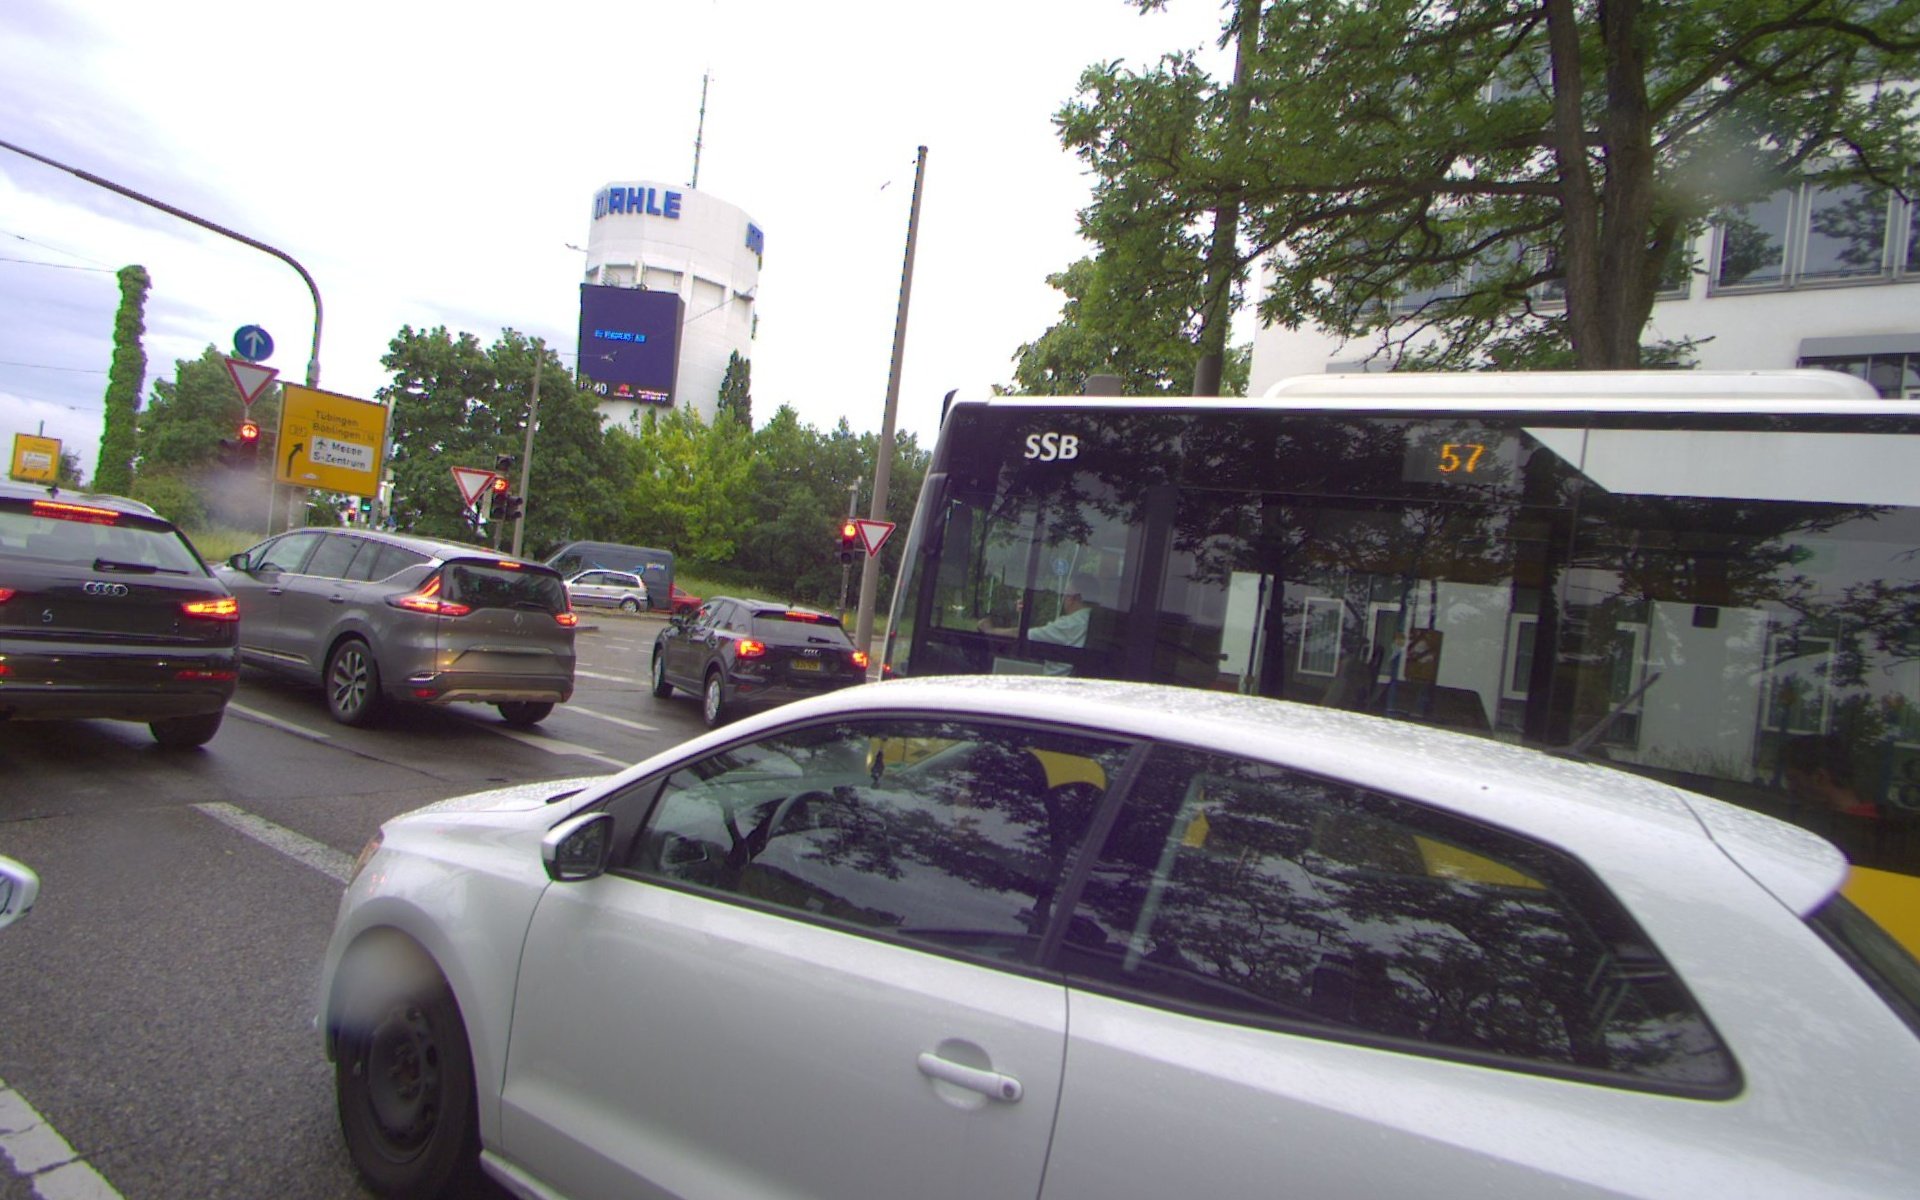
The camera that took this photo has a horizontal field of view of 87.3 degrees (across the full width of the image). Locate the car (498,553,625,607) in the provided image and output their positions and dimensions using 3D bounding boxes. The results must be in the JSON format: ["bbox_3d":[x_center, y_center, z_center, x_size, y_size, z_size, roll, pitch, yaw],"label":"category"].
[{"bbox_3d":[-15.949,-0.793,40.323,4.343,1.537,1.714,9,-2,-35],"label":"car"}]

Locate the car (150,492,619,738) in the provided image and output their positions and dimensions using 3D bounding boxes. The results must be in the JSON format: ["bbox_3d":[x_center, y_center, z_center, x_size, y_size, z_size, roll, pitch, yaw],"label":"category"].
[{"bbox_3d":[-5.730,0.089,9.882,4.488,1.694,1.869,8,-1,30],"label":"car"}]

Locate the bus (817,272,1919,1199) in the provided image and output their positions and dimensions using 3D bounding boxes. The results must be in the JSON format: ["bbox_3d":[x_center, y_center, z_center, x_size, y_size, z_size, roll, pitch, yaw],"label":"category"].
[{"bbox_3d":[5.120,0.746,3.880,11.943,3.187,2.733,7,-2,32],"label":"bus"}]

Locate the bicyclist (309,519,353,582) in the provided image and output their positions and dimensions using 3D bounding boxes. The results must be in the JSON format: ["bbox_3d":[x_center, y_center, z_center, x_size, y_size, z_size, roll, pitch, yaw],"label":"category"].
[{"bbox_3d":[-17.457,-1.366,27.941,0.803,1.601,1.015,9,-2,-31],"label":"bicyclist"}]

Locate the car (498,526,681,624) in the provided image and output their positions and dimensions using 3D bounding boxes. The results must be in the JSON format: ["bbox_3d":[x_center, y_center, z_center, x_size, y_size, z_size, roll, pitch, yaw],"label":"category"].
[{"bbox_3d":[-14.013,-0.867,38.245,5.972,2.772,2.065,9,-3,-33],"label":"car"}]

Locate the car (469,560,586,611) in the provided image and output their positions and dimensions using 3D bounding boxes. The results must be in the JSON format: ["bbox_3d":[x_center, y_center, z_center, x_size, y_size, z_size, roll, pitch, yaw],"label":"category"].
[{"bbox_3d":[-18.464,-0.601,43.015,4.112,1.582,1.852,9,-2,-38],"label":"car"}]

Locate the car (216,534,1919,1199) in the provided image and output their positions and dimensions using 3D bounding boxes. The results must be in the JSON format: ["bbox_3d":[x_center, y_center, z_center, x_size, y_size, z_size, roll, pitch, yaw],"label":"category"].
[{"bbox_3d":[0.062,0.802,2.511,3.750,1.447,1.744,6,-3,33],"label":"car"}]

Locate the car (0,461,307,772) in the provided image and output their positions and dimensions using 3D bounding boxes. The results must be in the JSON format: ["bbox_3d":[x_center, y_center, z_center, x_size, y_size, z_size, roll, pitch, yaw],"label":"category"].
[{"bbox_3d":[-6.486,-0.034,6.684,4.045,1.613,1.889,6,-3,31],"label":"car"}]

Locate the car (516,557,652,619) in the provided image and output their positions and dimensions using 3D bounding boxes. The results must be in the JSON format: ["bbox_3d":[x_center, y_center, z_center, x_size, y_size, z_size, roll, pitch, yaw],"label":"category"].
[{"bbox_3d":[-13.141,-0.374,35.224,4.027,1.586,1.855,9,-4,-35],"label":"car"}]

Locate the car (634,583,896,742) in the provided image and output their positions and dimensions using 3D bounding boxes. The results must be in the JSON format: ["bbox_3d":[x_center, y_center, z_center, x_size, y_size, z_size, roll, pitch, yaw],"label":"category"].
[{"bbox_3d":[-2.661,0.706,12.854,1.851,1.516,4.117,6,0,-32],"label":"car"}]
